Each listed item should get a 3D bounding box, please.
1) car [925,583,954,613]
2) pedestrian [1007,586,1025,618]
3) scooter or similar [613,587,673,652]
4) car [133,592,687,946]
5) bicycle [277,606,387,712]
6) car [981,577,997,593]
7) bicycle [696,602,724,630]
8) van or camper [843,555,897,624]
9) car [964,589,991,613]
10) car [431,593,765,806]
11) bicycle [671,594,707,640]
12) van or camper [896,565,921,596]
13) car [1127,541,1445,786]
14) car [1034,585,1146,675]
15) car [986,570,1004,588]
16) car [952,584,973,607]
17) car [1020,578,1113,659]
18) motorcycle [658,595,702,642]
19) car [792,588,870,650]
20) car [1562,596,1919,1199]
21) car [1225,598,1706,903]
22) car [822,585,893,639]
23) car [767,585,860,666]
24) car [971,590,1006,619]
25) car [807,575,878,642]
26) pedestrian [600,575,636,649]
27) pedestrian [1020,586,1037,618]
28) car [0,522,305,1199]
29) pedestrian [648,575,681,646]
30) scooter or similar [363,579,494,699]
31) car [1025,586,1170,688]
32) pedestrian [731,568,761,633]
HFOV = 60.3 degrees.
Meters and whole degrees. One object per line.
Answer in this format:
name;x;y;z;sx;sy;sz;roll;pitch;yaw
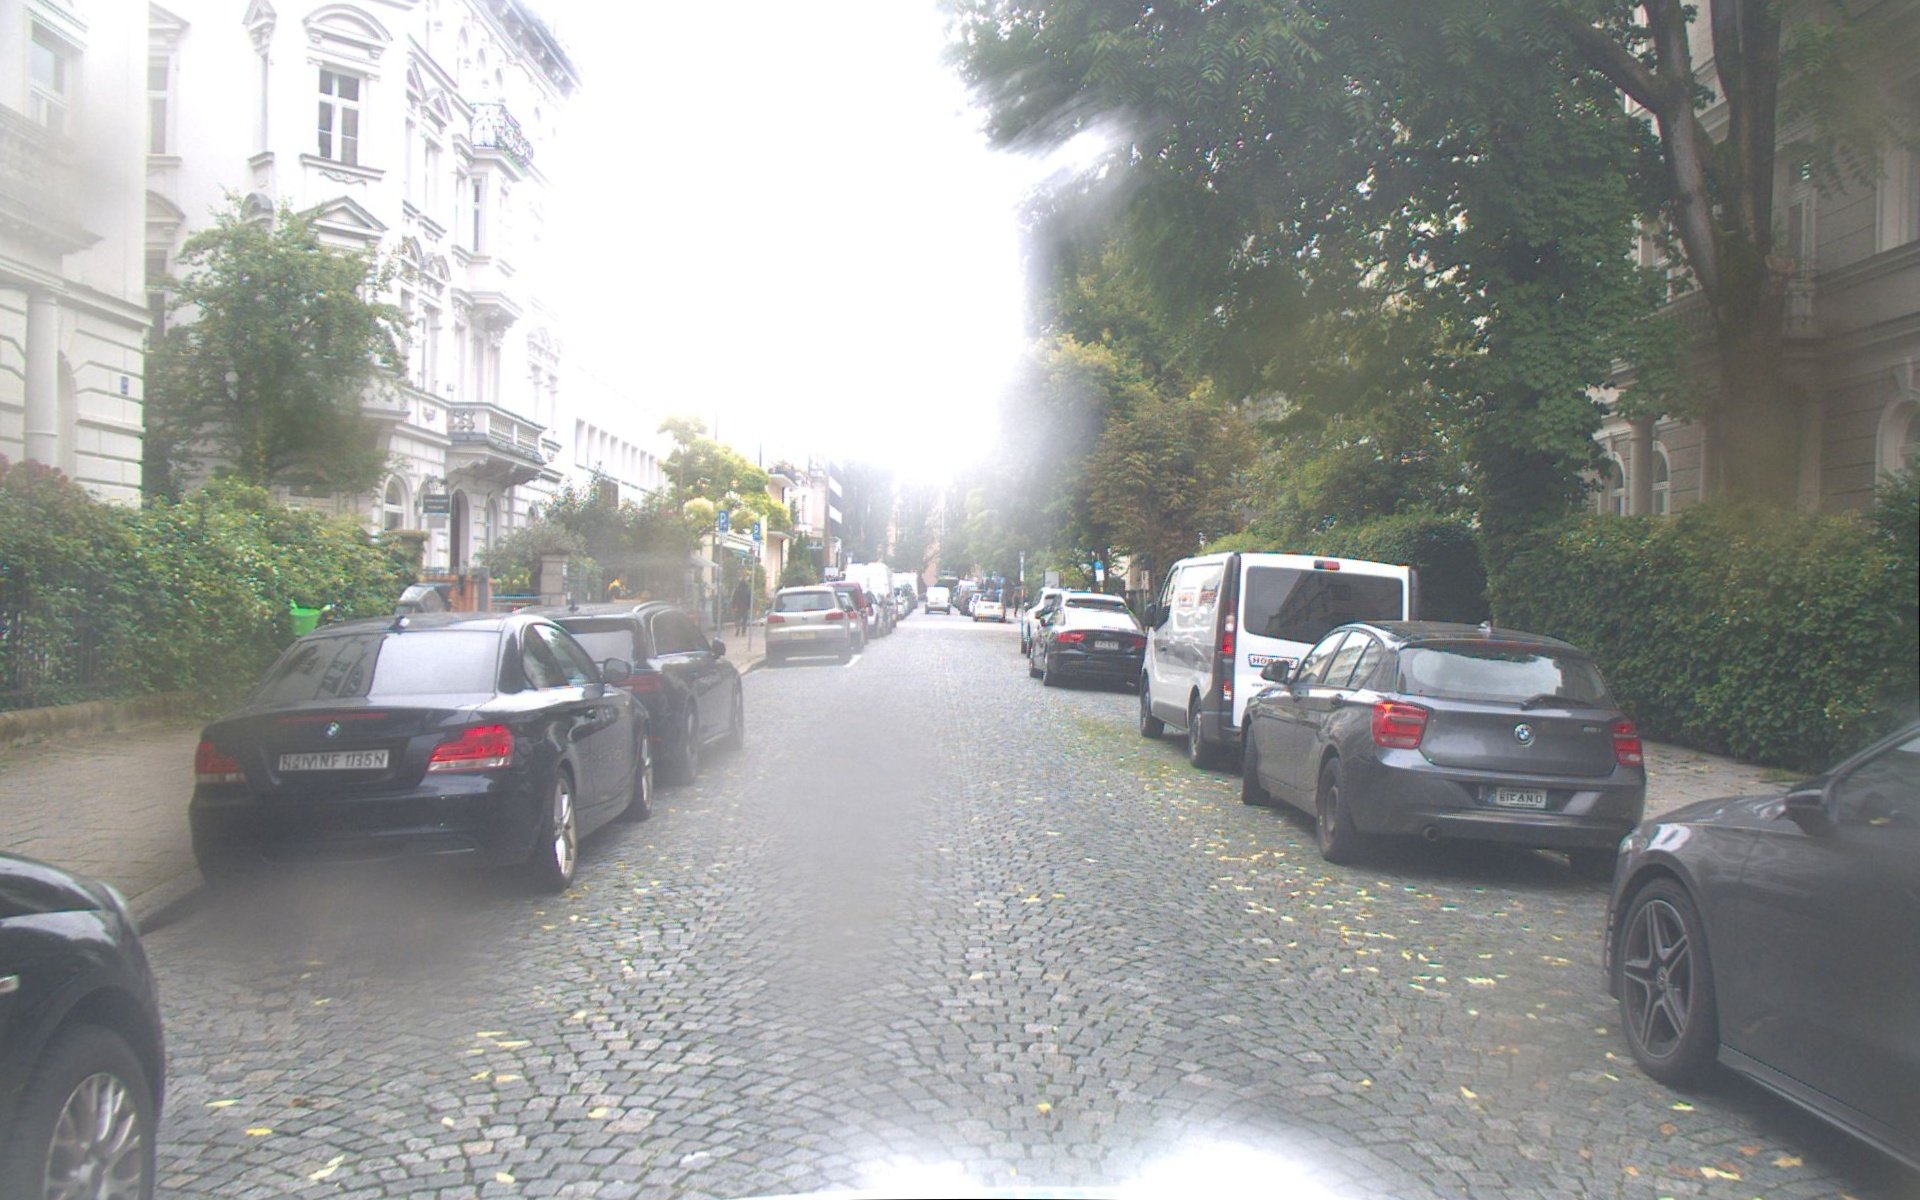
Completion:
car;-1.418;-0.129;116.319;1.953;2.049;4.000;1;0;0
pedestrian;3.631;0.133;107.297;0.843;2.049;0.986;1;0;-18
scooter or similar;-7.414;0.432;38.817;0.922;1.467;2.656;1;0;-1
car;-2.765;0.724;9.474;1.747;1.442;4.495;-3;1;-2
bicycle;-7.296;0.661;19.300;0.565;1.142;2.050;1;0;-2
car;3.763;-1.995;217.766;1.953;2.049;4.000;1;0;0
bicycle;-8.020;0.499;53.115;0.492;0.854;2.090;1;0;2
van or camper;-3.742;-0.431;69.125;1.953;2.698;4.000;-2;0;0
car;1.170;0.077;110.959;1.753;1.547;4.000;1;0;0
car;-2.895;0.714;14.248;1.848;1.442;4.406;-3;1;0
bicycle;-7.638;0.460;46.502;0.645;1.242;2.078;1;0;-19
van or camper;-4.778;-1.780;153.691;2.210;2.790;5.097;1;0;-1
car;3.013;0.520;16.533;1.836;1.962;5.161;3;0;-3
car;2.610;0.565;33.997;1.781;1.607;4.207;4;0;-2
car;4.084;-2.399;193.216;1.953;2.049;4.000;1;0;0
car;0.235;-0.425;154.189;1.953;2.049;4.000;1;0;0
car;2.542;0.411;40.571;1.835;1.763;4.592;3;0;-1
motorcycle;-7.495;0.484;44.339;0.609;1.217;1.866;1;0;8
car;-3.266;0.446;42.537;1.836;1.476;4.205;-1;0;-3
car;3.166;0.796;4.003;1.679;1.498;4.267;3;0;-2
car;3.054;0.799;11.045;1.799;1.516;4.421;3;0;0
car;-3.310;0.383;54.184;1.834;1.607;4.209;3;0;2
car;-3.173;0.516;36.498;1.836;1.607;4.253;-2;0;-3
car;1.535;0.220;90.275;1.753;1.547;4.000;1;0;0
car;-3.433;0.234;48.999;1.835;1.807;4.121;-3;0;-2
pedestrian;-8.131;0.282;39.286;0.703;1.717;0.695;1;0;-2
pedestrian;4.461;0.146;107.747;0.843;2.049;0.986;1;0;-18
car;-2.449;0.611;2.321;1.629;1.469;4.168;-1;0;-4
pedestrian;-7.293;0.259;40.823;0.679;1.717;0.719;1;0;-2
scooter or similar;-7.016;0.481;21.991;0.922;1.467;2.655;2;0;-2
car;2.288;0.574;28.661;1.836;1.529;4.509;3;0;-3
pedestrian;-6.554;0.006;50.672;0.776;1.951;0.758;2;0;-1
